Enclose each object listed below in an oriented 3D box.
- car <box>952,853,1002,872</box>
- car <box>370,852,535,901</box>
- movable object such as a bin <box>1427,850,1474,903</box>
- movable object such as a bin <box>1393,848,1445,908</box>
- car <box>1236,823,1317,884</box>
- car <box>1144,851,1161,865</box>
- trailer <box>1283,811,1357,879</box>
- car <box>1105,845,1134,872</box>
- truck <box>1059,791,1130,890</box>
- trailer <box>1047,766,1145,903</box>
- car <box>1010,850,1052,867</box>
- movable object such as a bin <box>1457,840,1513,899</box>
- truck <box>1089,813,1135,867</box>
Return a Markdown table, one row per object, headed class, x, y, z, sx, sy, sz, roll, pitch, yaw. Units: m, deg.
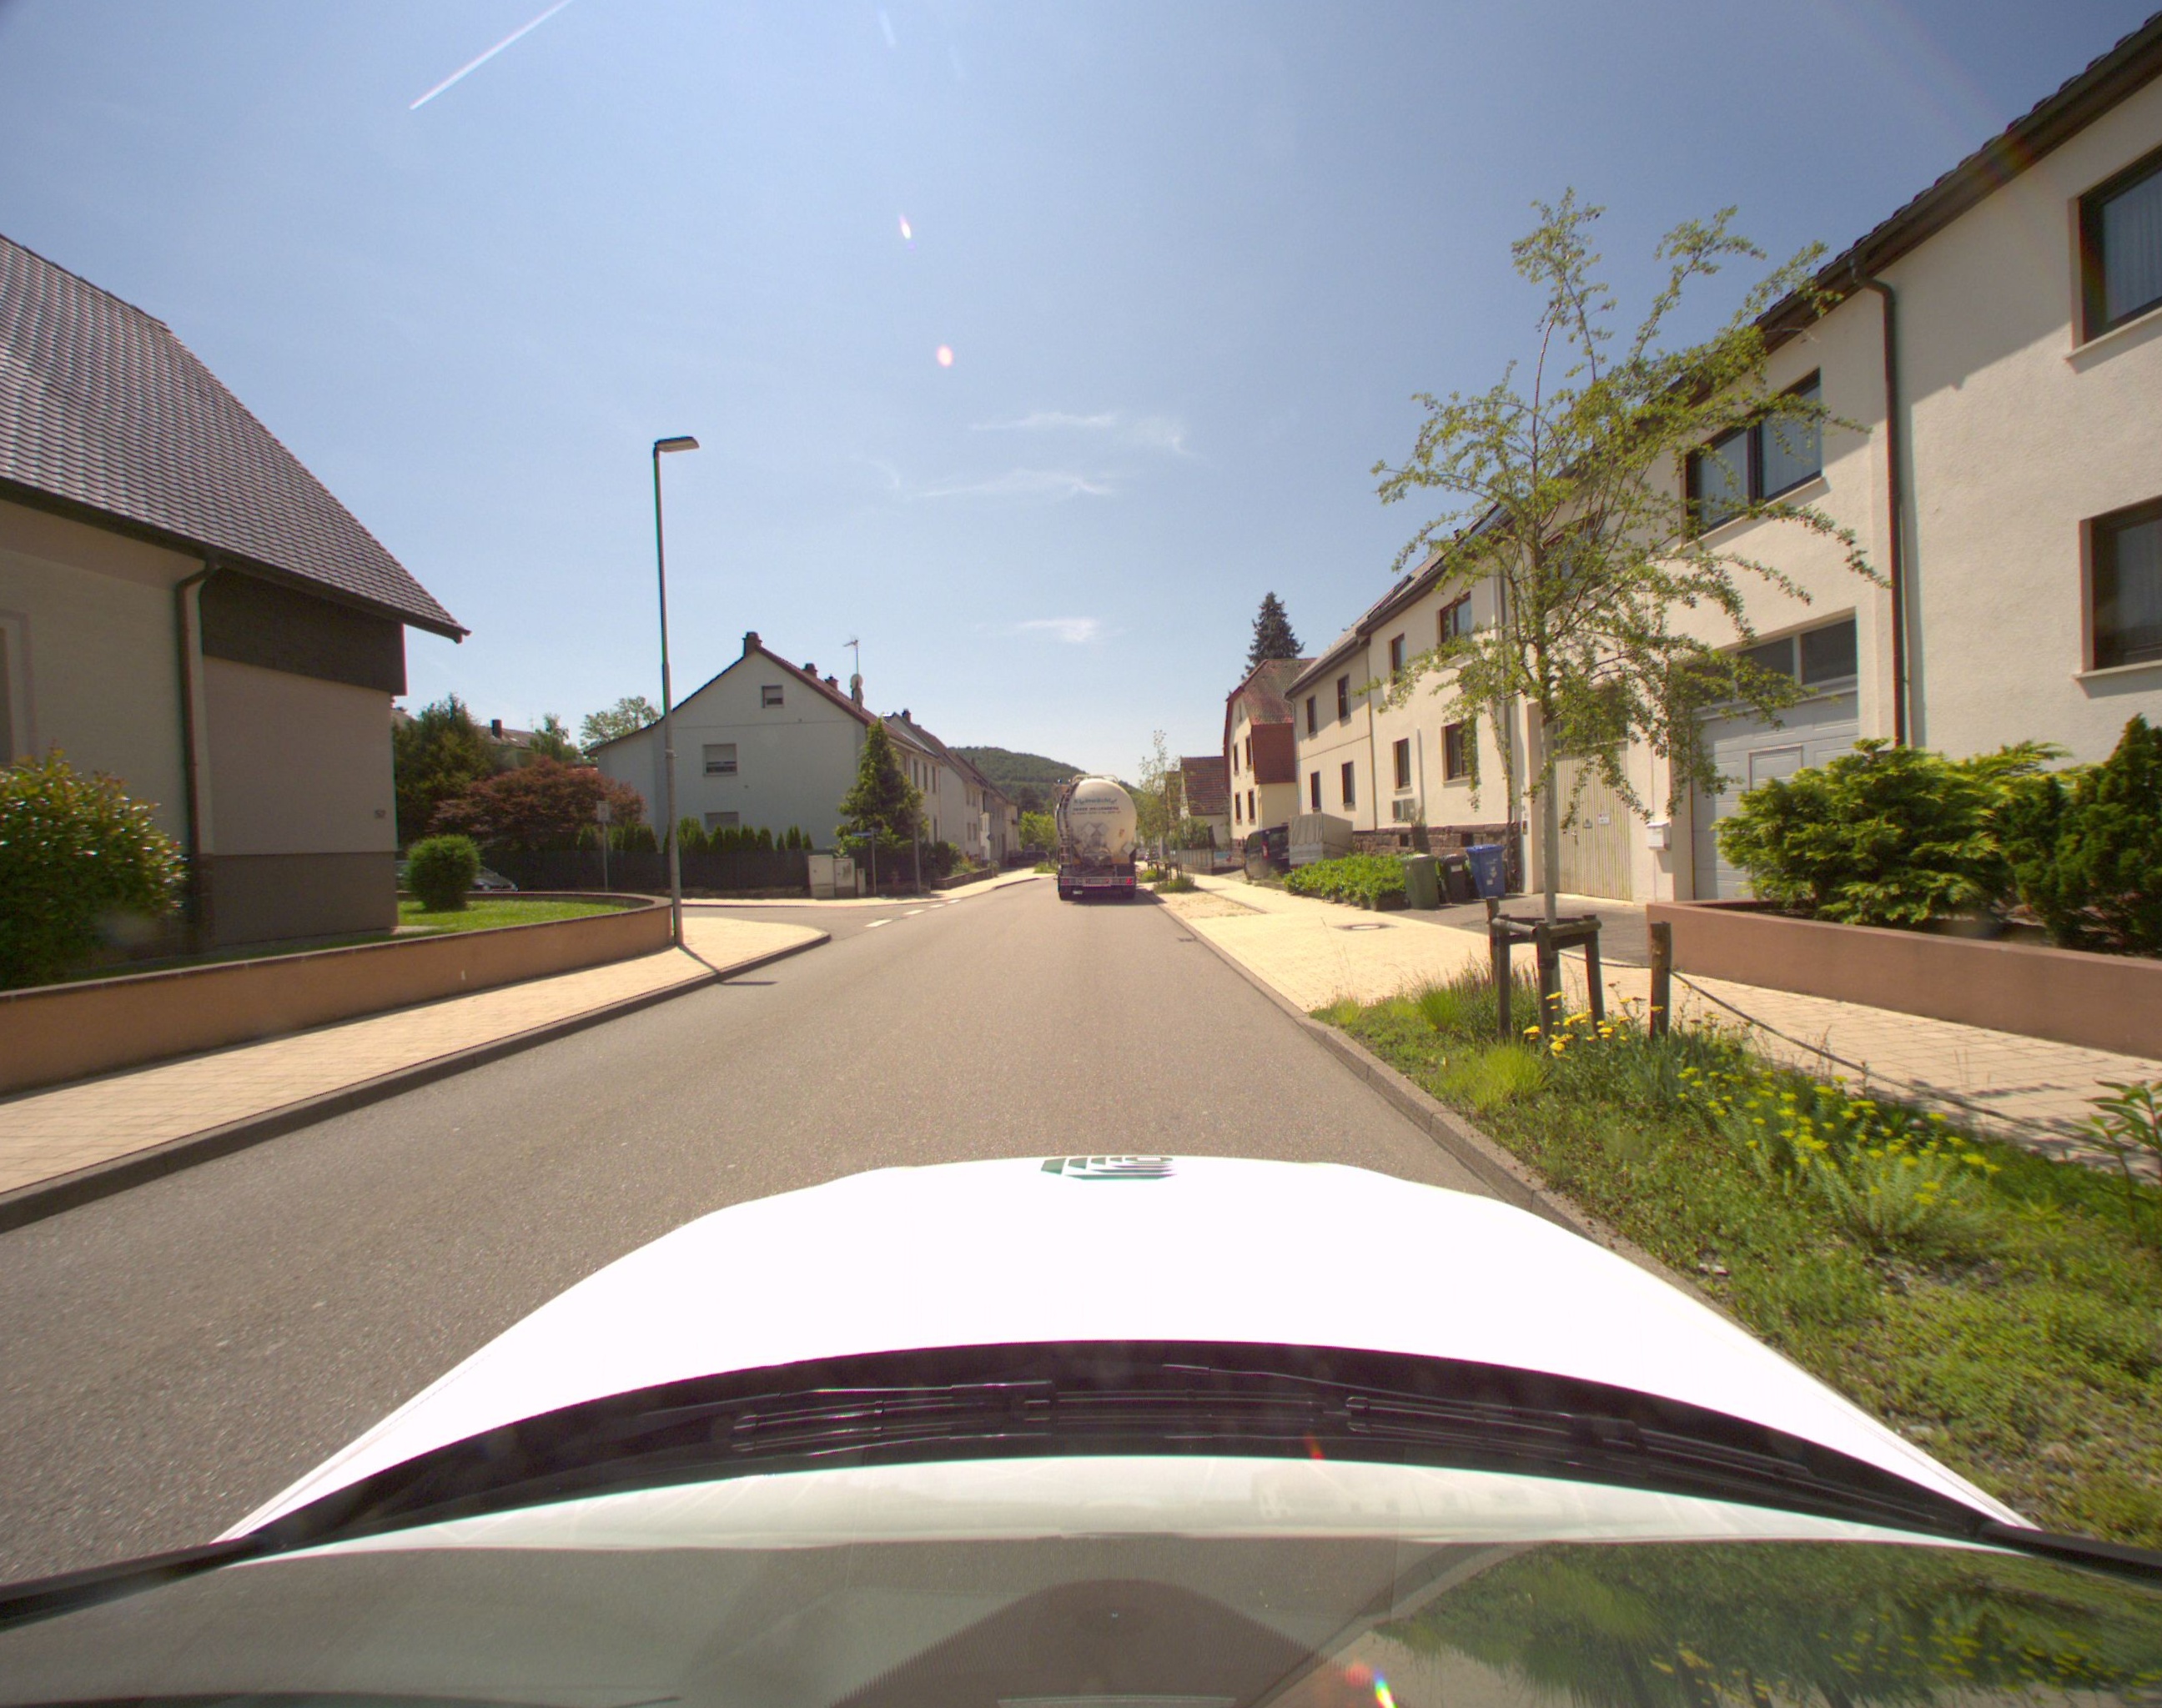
| class | x | y | z | sx | sy | sz | roll | pitch | yaw |
| --- | --- | --- | --- | --- | --- | --- | --- | --- | --- |
| car | -8.888 | 0.727 | 70.016 | 3.972 | 1.545 | 1.833 | -1 | 0 | 1 |
| car | -18.884 | 0.670 | 24.559 | 3.725 | 1.416 | 1.754 | 0 | 0 | 5 |
| movable object such as a bin | 7.477 | 0.446 | 16.502 | 0.555 | 0.986 | 0.804 | -7 | -1 | 8 |
| movable object such as a bin | 6.785 | 0.480 | 16.381 | 0.680 | 1.115 | 0.814 | -6 | -1 | 6 |
| car | 7.198 | -0.008 | 30.478 | 1.846 | 1.971 | 4.774 | -4 | 0 | 1 |
| car | 8.625 | 0.449 | 98.969 | 1.784 | 1.541 | 4.522 | -5 | 0 | 3 |
| trailer | 7.565 | -0.274 | 25.678 | 1.308 | 2.013 | 2.287 | -1 | 0 | 43 |
| car | 2.831 | 0.330 | 60.250 | 1.986 | 1.904 | 4.002 | -2 | 0 | 2 |
| truck | 0.687 | -0.539 | 36.176 | 2.797 | 3.937 | 6.103 | -2 | 0 | 2 |
| trailer | 0.531 | -0.573 | 29.317 | 2.786 | 4.001 | 10.324 | -2 | 0 | 1 |
| car | -5.399 | 0.496 | 88.727 | 4.380 | 1.750 | 1.878 | -2 | 0 | 0 |
| movable object such as a bin | 8.149 | 0.301 | 16.463 | 0.681 | 1.106 | 0.864 | -6 | -1 | 7 |
| truck | 3.054 | -1.344 | 82.757 | 3.899 | 4.895 | 9.791 | -3 | 0 | -1 |
